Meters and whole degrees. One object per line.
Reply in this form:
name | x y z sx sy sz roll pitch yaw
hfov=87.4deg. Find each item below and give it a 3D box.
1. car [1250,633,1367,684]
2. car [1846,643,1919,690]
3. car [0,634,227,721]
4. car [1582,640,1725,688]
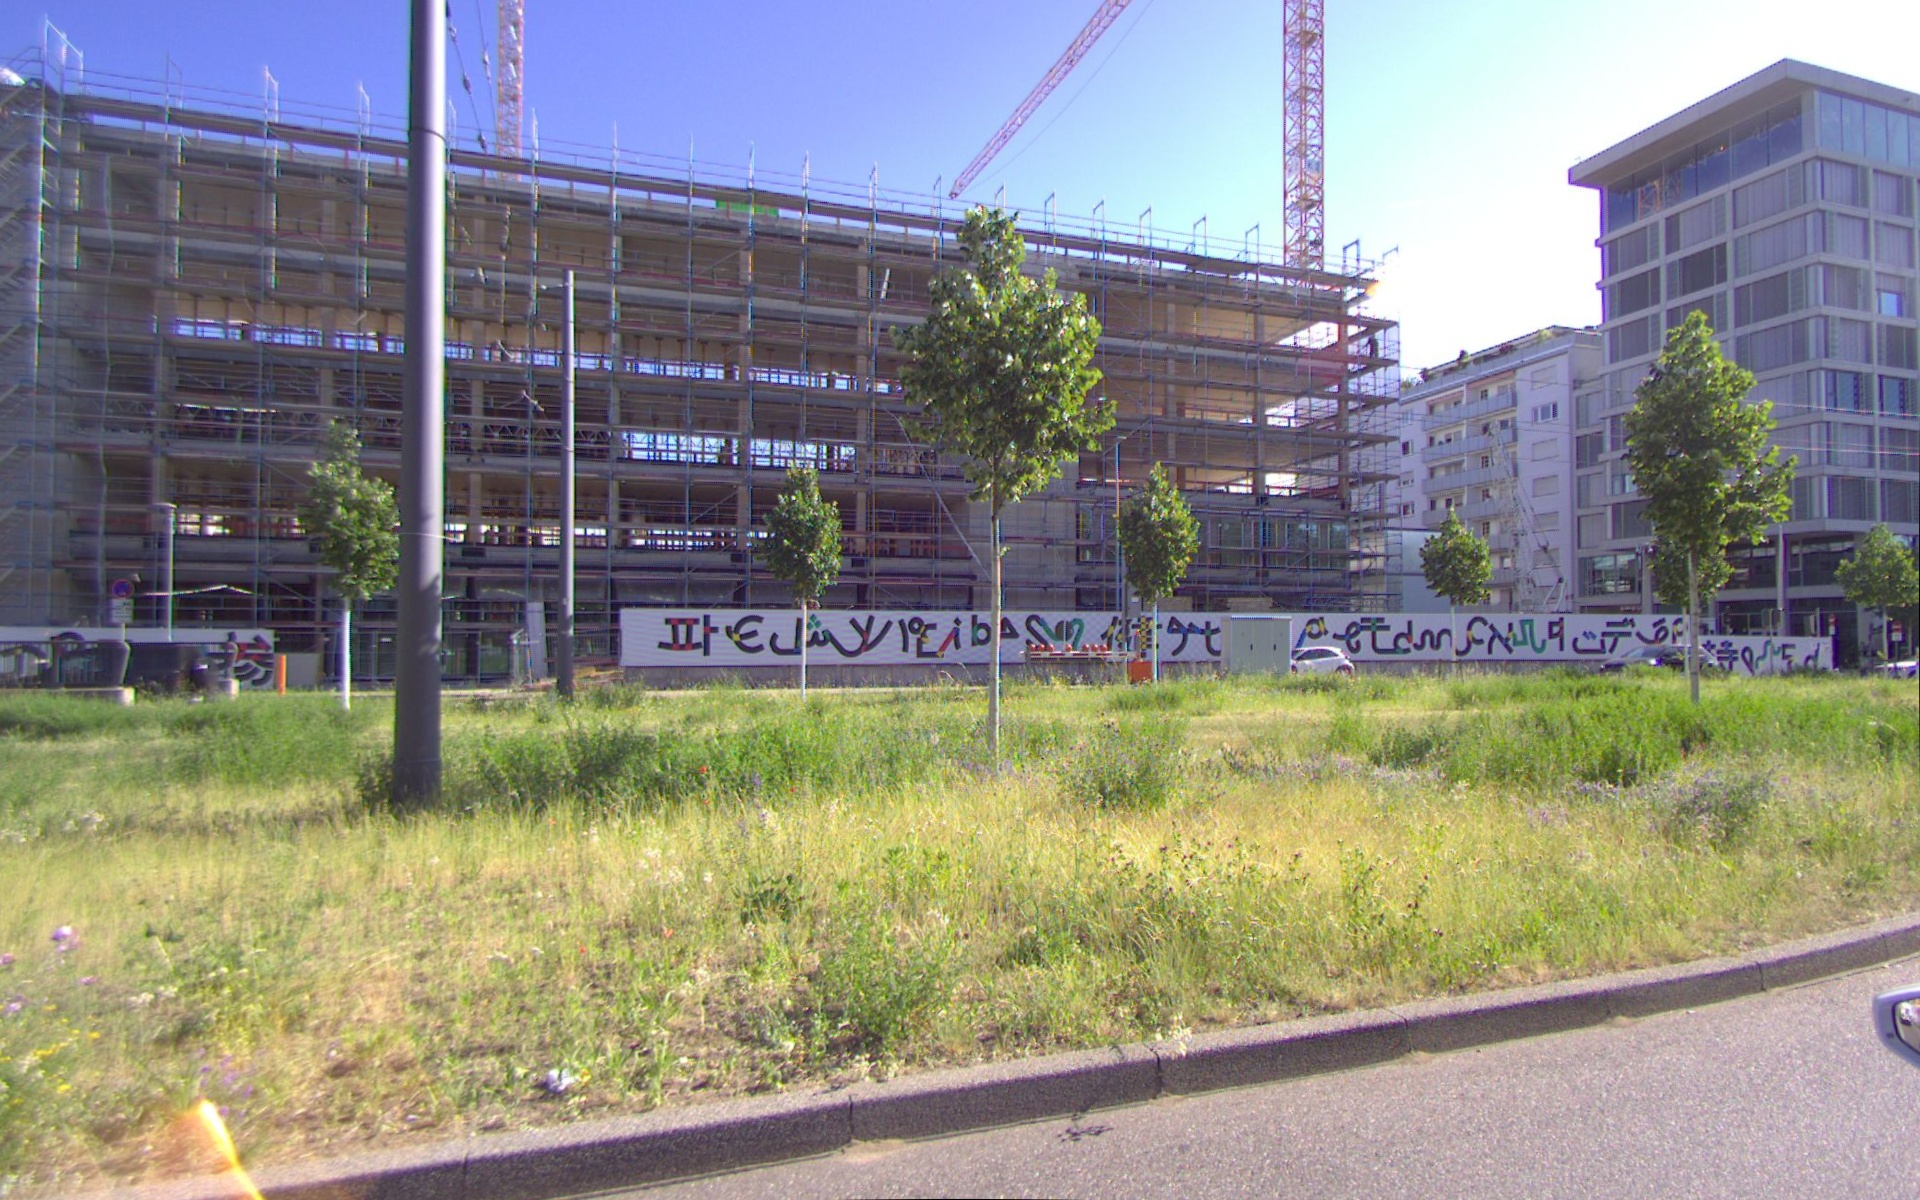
car | 13.711 2.270 39.625 3.915 1.943 1.912 1 -2 -11
car | 38.523 2.640 40.199 4.439 1.816 2.000 0 -2 -3
car | -20.326 1.791 23.845 4.260 1.943 1.908 1 -2 -18
car | 27.397 2.508 39.762 4.442 1.816 1.999 0 -2 -6
